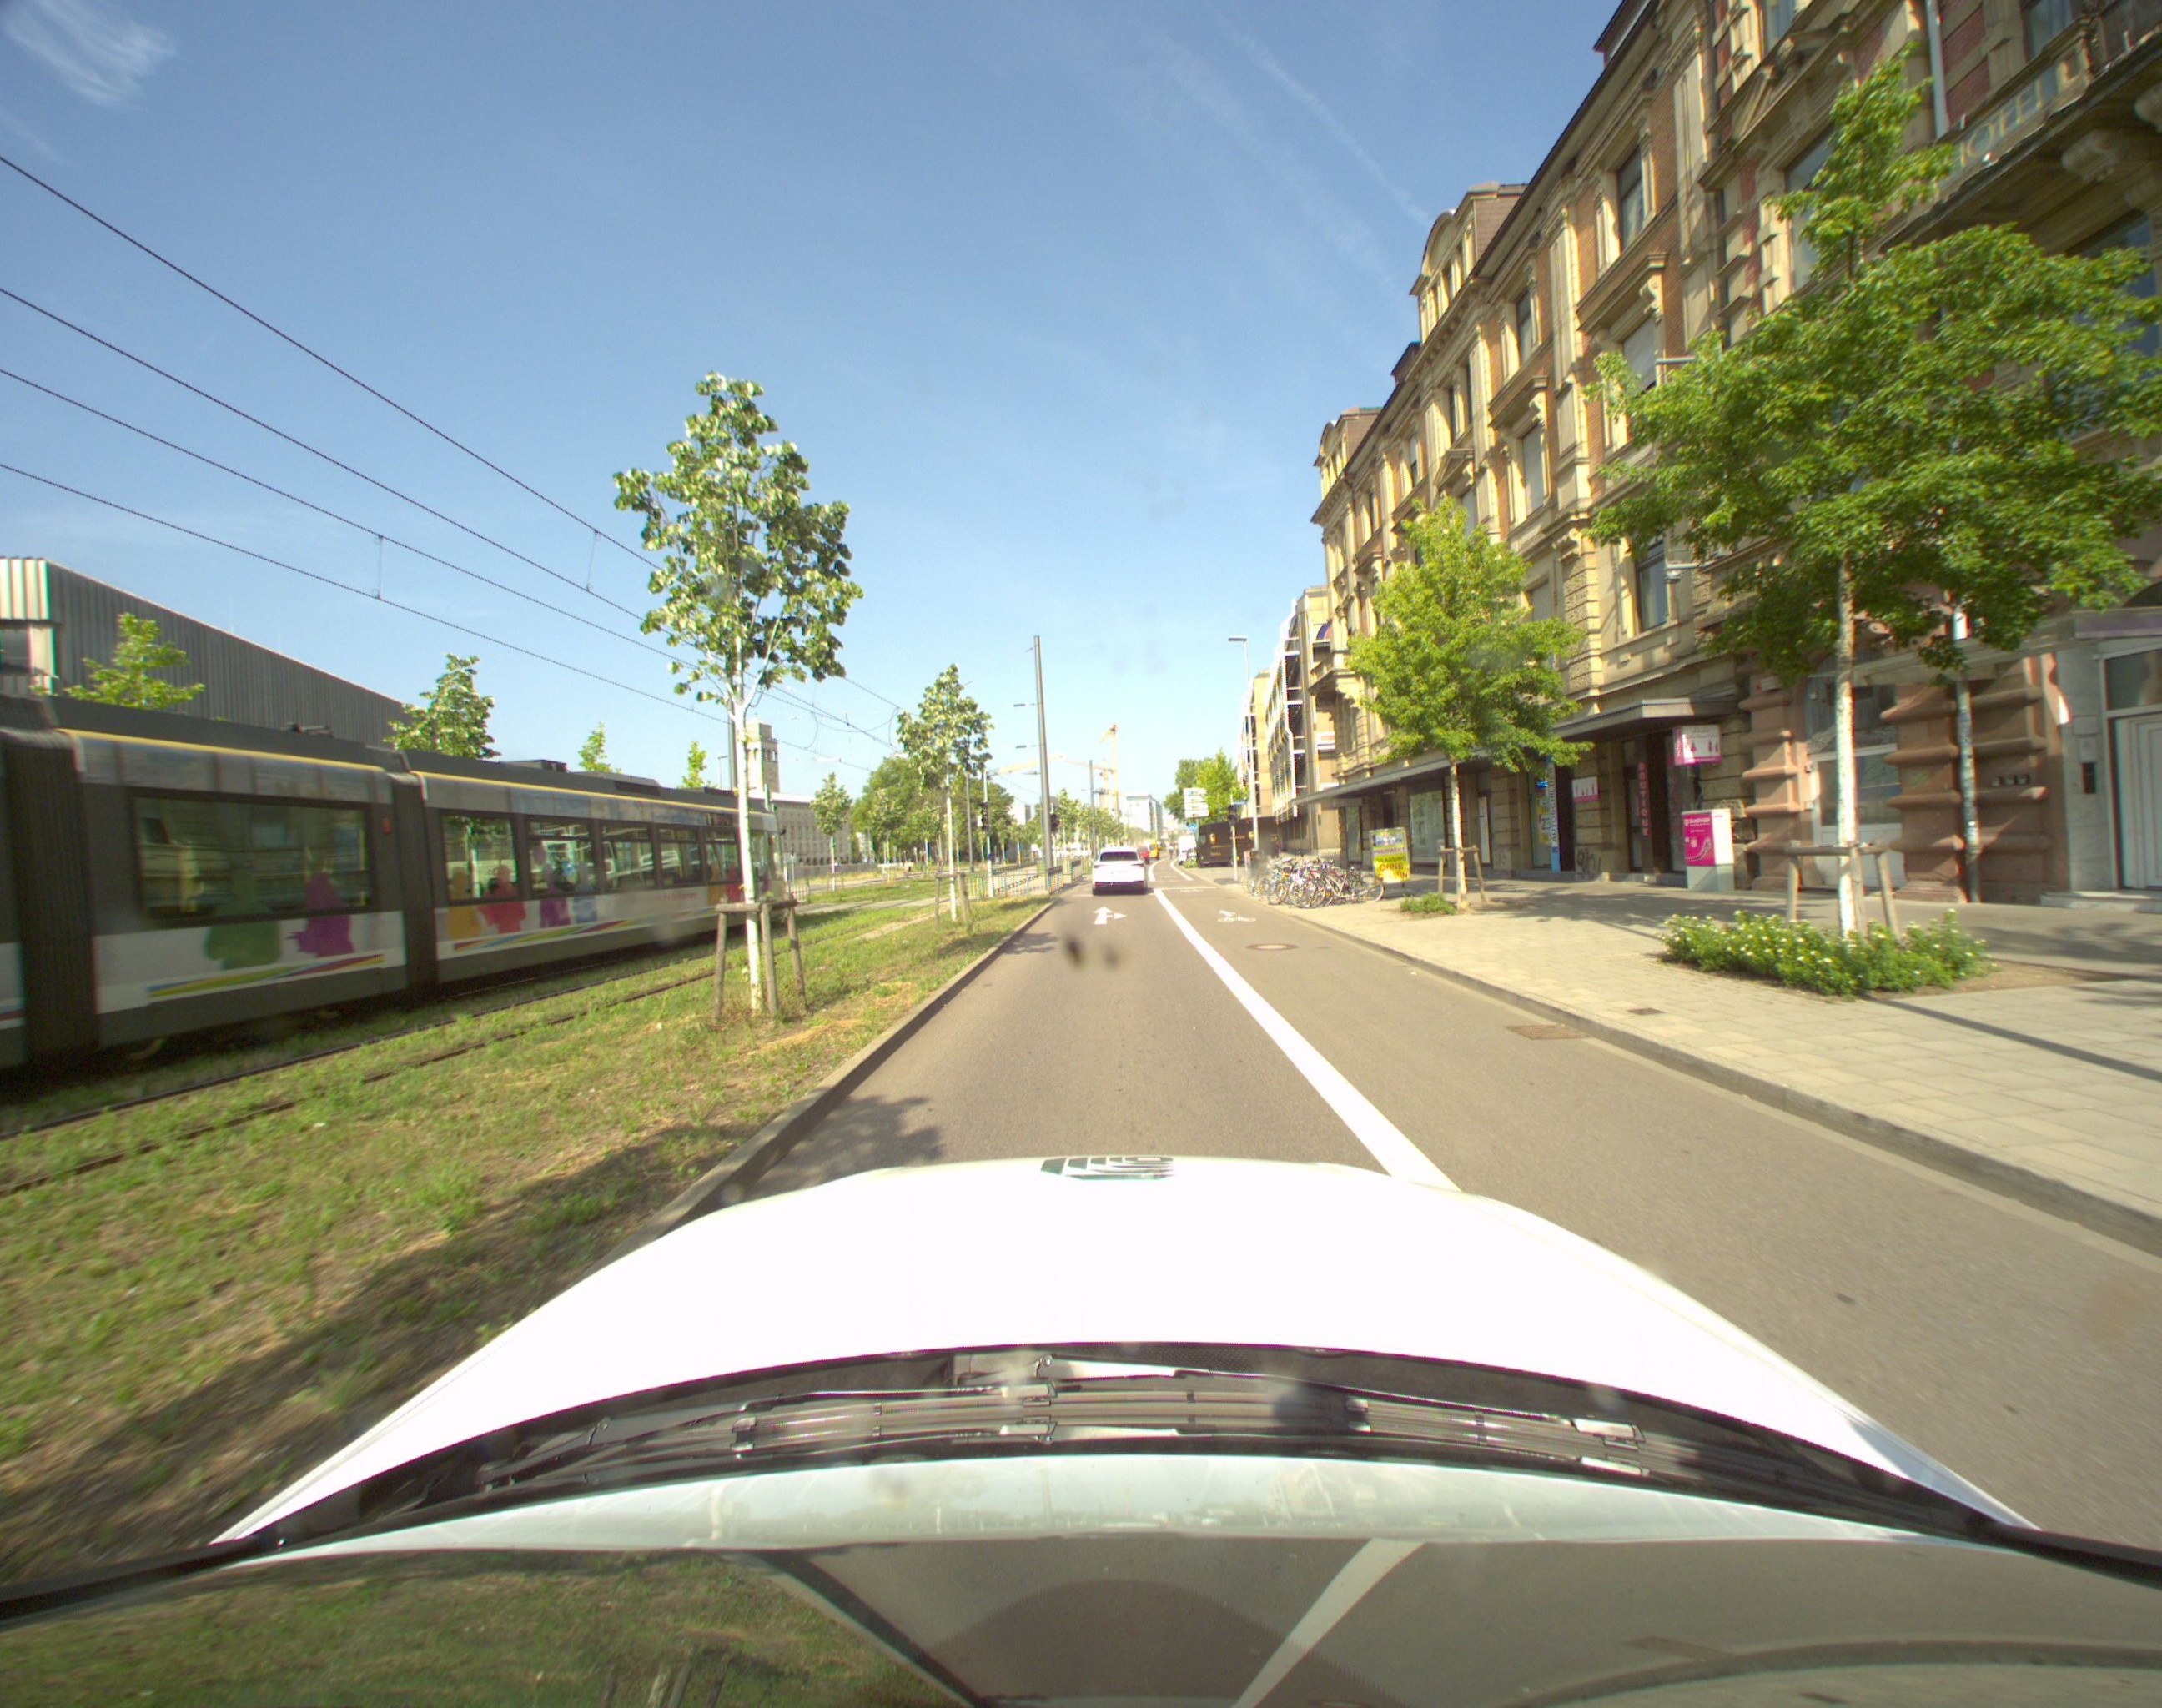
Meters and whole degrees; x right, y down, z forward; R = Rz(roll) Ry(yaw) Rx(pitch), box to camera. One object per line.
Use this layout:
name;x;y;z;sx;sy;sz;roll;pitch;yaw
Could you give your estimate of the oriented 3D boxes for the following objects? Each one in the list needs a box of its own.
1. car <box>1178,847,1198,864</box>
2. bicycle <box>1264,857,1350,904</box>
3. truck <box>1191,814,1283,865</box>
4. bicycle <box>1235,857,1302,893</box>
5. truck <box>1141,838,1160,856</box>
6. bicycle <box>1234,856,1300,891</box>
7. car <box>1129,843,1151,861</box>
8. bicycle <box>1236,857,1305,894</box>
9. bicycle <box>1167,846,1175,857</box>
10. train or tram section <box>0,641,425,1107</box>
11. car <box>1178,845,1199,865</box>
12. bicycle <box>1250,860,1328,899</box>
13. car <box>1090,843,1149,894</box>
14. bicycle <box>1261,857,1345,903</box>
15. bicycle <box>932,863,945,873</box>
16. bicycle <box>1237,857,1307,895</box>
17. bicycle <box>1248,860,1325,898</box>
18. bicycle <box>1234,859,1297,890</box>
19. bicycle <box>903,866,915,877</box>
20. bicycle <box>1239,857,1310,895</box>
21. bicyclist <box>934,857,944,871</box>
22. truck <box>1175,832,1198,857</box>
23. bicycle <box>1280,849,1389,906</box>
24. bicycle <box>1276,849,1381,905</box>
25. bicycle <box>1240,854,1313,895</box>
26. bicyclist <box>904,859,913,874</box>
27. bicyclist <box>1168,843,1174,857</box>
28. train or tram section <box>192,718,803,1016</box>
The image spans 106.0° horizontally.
car;9.440;0.078;71.854;1.640;1.385;3.534;-3;0;8
bicycle;5.569;0.656;20.119;1.927;0.986;0.471;-5;0;2
truck;9.998;-0.872;53.067;2.519;3.011;6.910;-3;0;-21
bicycle;5.798;0.661;25.204;1.925;0.945;0.429;-5;0;4
truck;9.400;-0.896;110.509;2.204;2.318;5.894;-3;0;3
bicycle;5.846;0.619;25.668;1.925;0.945;0.429;-5;0;4
car;5.941;-0.199;80.946;1.984;1.684;4.376;-3;0;6
bicycle;5.744;0.658;24.762;1.925;0.945;0.429;-5;0;4
bicycle;12.318;-0.303;111.746;0.778;1.496;2.802;-3;0;2
train or tram section;-9.806;0.198;3.667;2.888;3.586;12.935;-3;0;1
car;8.912;0.074;67.508;1.640;1.499;3.534;-3;0;8
bicycle;5.554;0.686;21.801;1.927;0.874;0.441;-5;0;2
car;1.266;0.469;28.322;1.811;1.590;4.407;-2;0;1
bicycle;5.603;0.659;20.599;1.948;0.986;0.471;-5;0;2
bicycle;-15.365;1.540;88.058;0.693;0.990;2.826;-3;0;3
bicycle;5.707;0.655;24.379;1.925;0.945;0.441;-5;0;4
bicycle;5.598;0.674;22.244;1.927;0.874;0.441;-5;0;2
bicycle;5.967;0.662;26.342;1.878;0.863;0.429;-5;0;4
bicycle;-16.137;1.637;76.344;0.536;0.958;1.920;-3;0;4
bicycle;5.667;0.651;23.900;1.925;0.945;0.441;-5;0;4
bicyclist;-15.369;1.100;88.249;0.693;1.516;1.187;-3;0;3
truck;11.048;-0.956;85.629;1.985;2.508;4.003;-3;0;3
bicycle;5.788;0.535;18.644;2.230;1.104;0.589;-5;0;2
bicycle;5.823;0.540;19.199;2.230;1.104;0.519;-5;0;2
bicycle;5.625;0.595;23.454;1.925;1.013;0.441;-5;0;4
bicyclist;-16.165;1.185;76.363;0.536;1.422;0.901;-3;0;4
bicyclist;12.300;-0.506;111.575;0.706;1.895;0.843;-3;0;2
train or tram section;-9.445;0.199;16.347;2.887;3.586;12.231;-3;0;2
